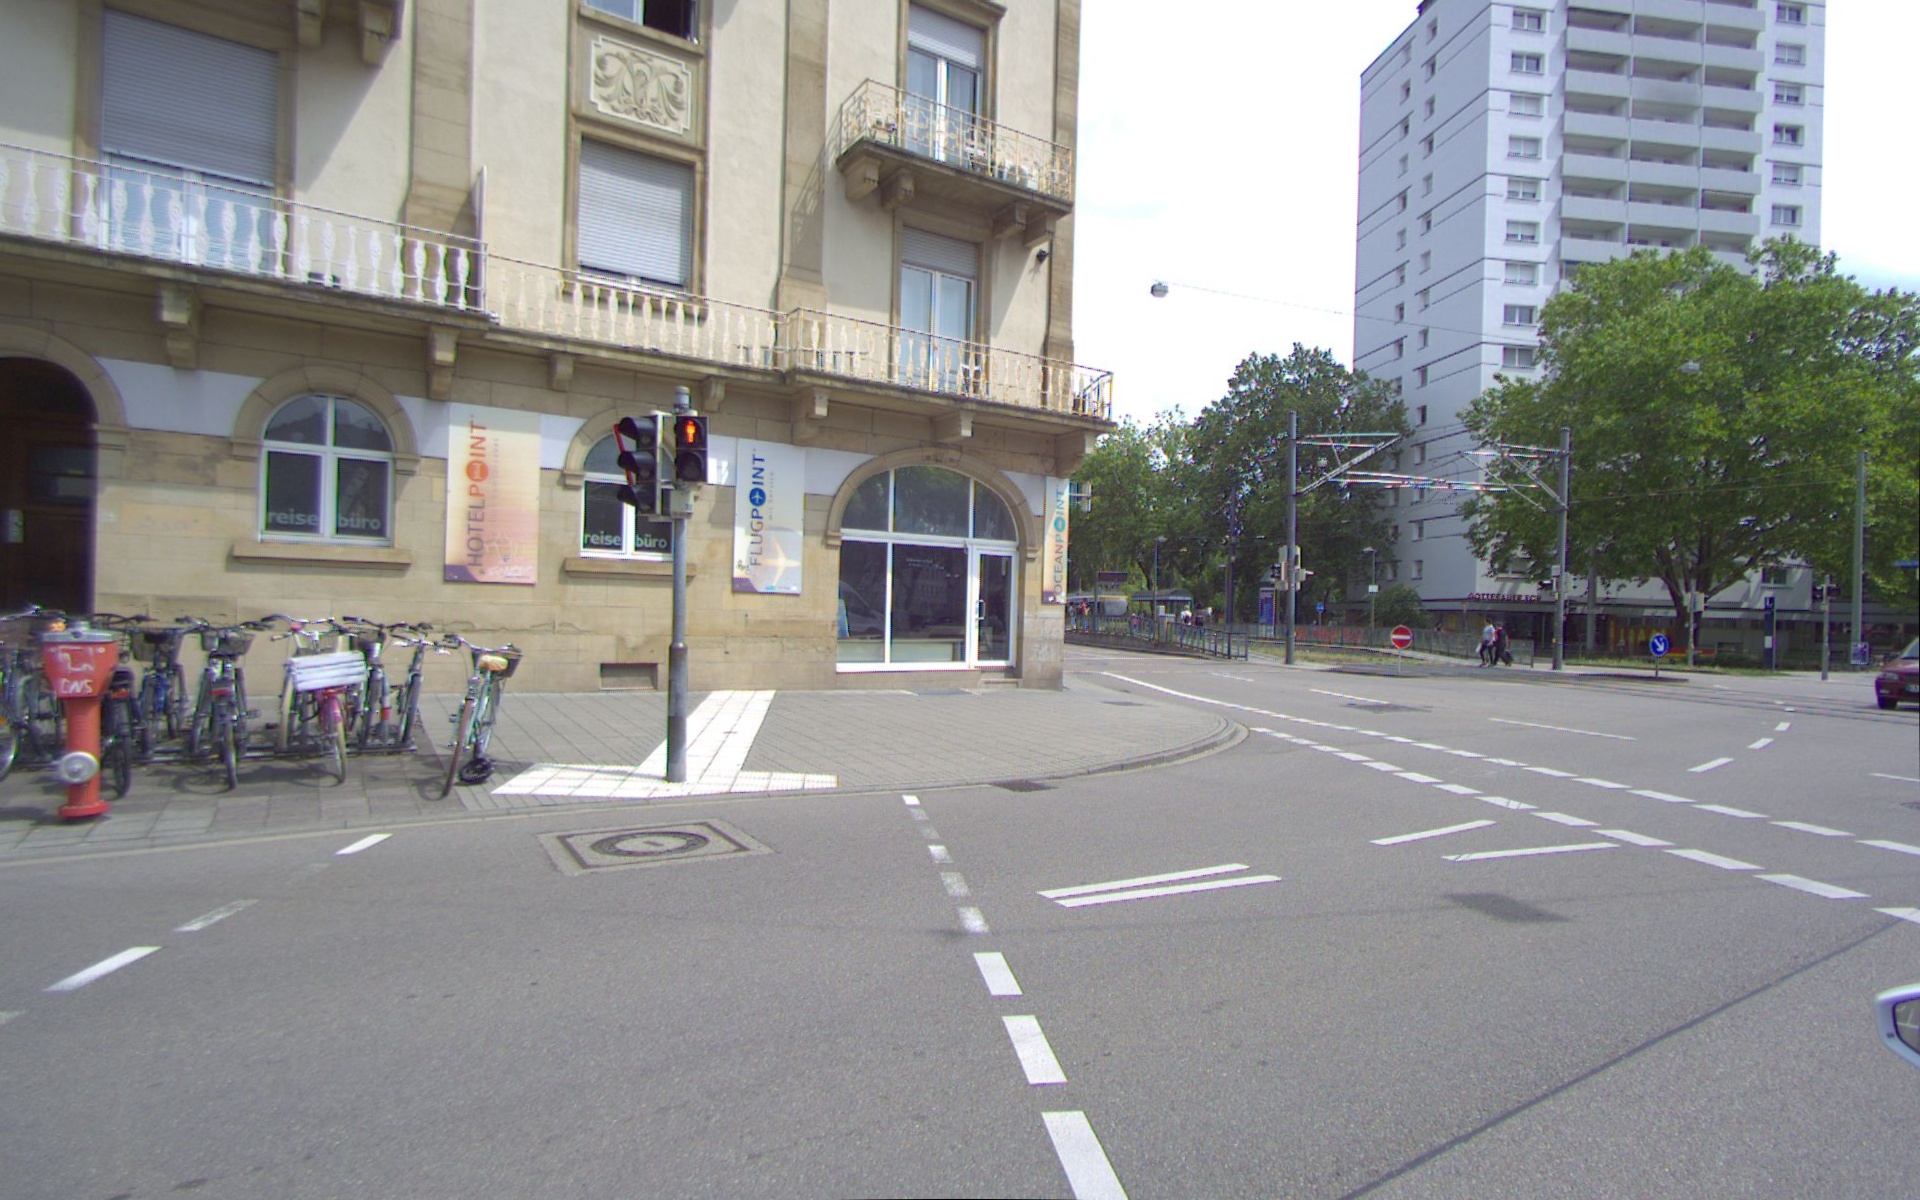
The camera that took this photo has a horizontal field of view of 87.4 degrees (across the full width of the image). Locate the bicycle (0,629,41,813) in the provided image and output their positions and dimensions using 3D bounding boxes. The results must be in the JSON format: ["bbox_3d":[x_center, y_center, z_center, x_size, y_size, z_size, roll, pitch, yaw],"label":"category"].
[{"bbox_3d":[-6.427,0.825,6.254,0.587,1.135,1.801,2,3,-28],"label":"bicycle"}]

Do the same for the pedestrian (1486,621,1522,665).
[{"bbox_3d":[19.532,1.541,36.093,0.920,1.534,0.719,2,0,-27],"label":"pedestrian"}]

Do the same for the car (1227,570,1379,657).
[{"bbox_3d":[17.358,0.679,51.856,3.391,3.967,9.905,1,-1,-7],"label":"car"}]

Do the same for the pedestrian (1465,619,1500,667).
[{"bbox_3d":[17.852,1.447,34.330,0.710,1.593,0.809,1,0,-5],"label":"pedestrian"}]

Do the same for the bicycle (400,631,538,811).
[{"bbox_3d":[-3.911,0.902,8.135,0.489,1.182,1.877,3,1,-11],"label":"bicycle"}]

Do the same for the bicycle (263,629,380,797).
[{"bbox_3d":[-5.338,0.868,8.352,0.589,1.135,1.794,2,1,-39],"label":"bicycle"}]

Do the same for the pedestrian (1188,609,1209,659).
[{"bbox_3d":[10.230,1.472,43.115,0.643,2.114,0.590,1,0,-14],"label":"pedestrian"}]

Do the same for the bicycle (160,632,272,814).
[{"bbox_3d":[-5.809,0.878,7.798,0.589,1.135,1.794,2,1,-39],"label":"bicycle"}]

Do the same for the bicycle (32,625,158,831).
[{"bbox_3d":[-6.143,0.832,7.188,0.589,1.182,1.794,2,1,-39],"label":"bicycle"}]

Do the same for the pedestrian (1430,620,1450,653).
[{"bbox_3d":[28.295,2.131,59.229,0.726,1.909,0.764,1,-1,-6],"label":"pedestrian"}]

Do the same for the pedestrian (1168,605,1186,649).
[{"bbox_3d":[9.357,1.152,43.289,0.565,1.894,0.547,1,0,-14],"label":"pedestrian"}]

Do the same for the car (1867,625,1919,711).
[{"bbox_3d":[18.852,1.277,19.015,3.766,1.528,1.582,2,-1,-33],"label":"car"}]
